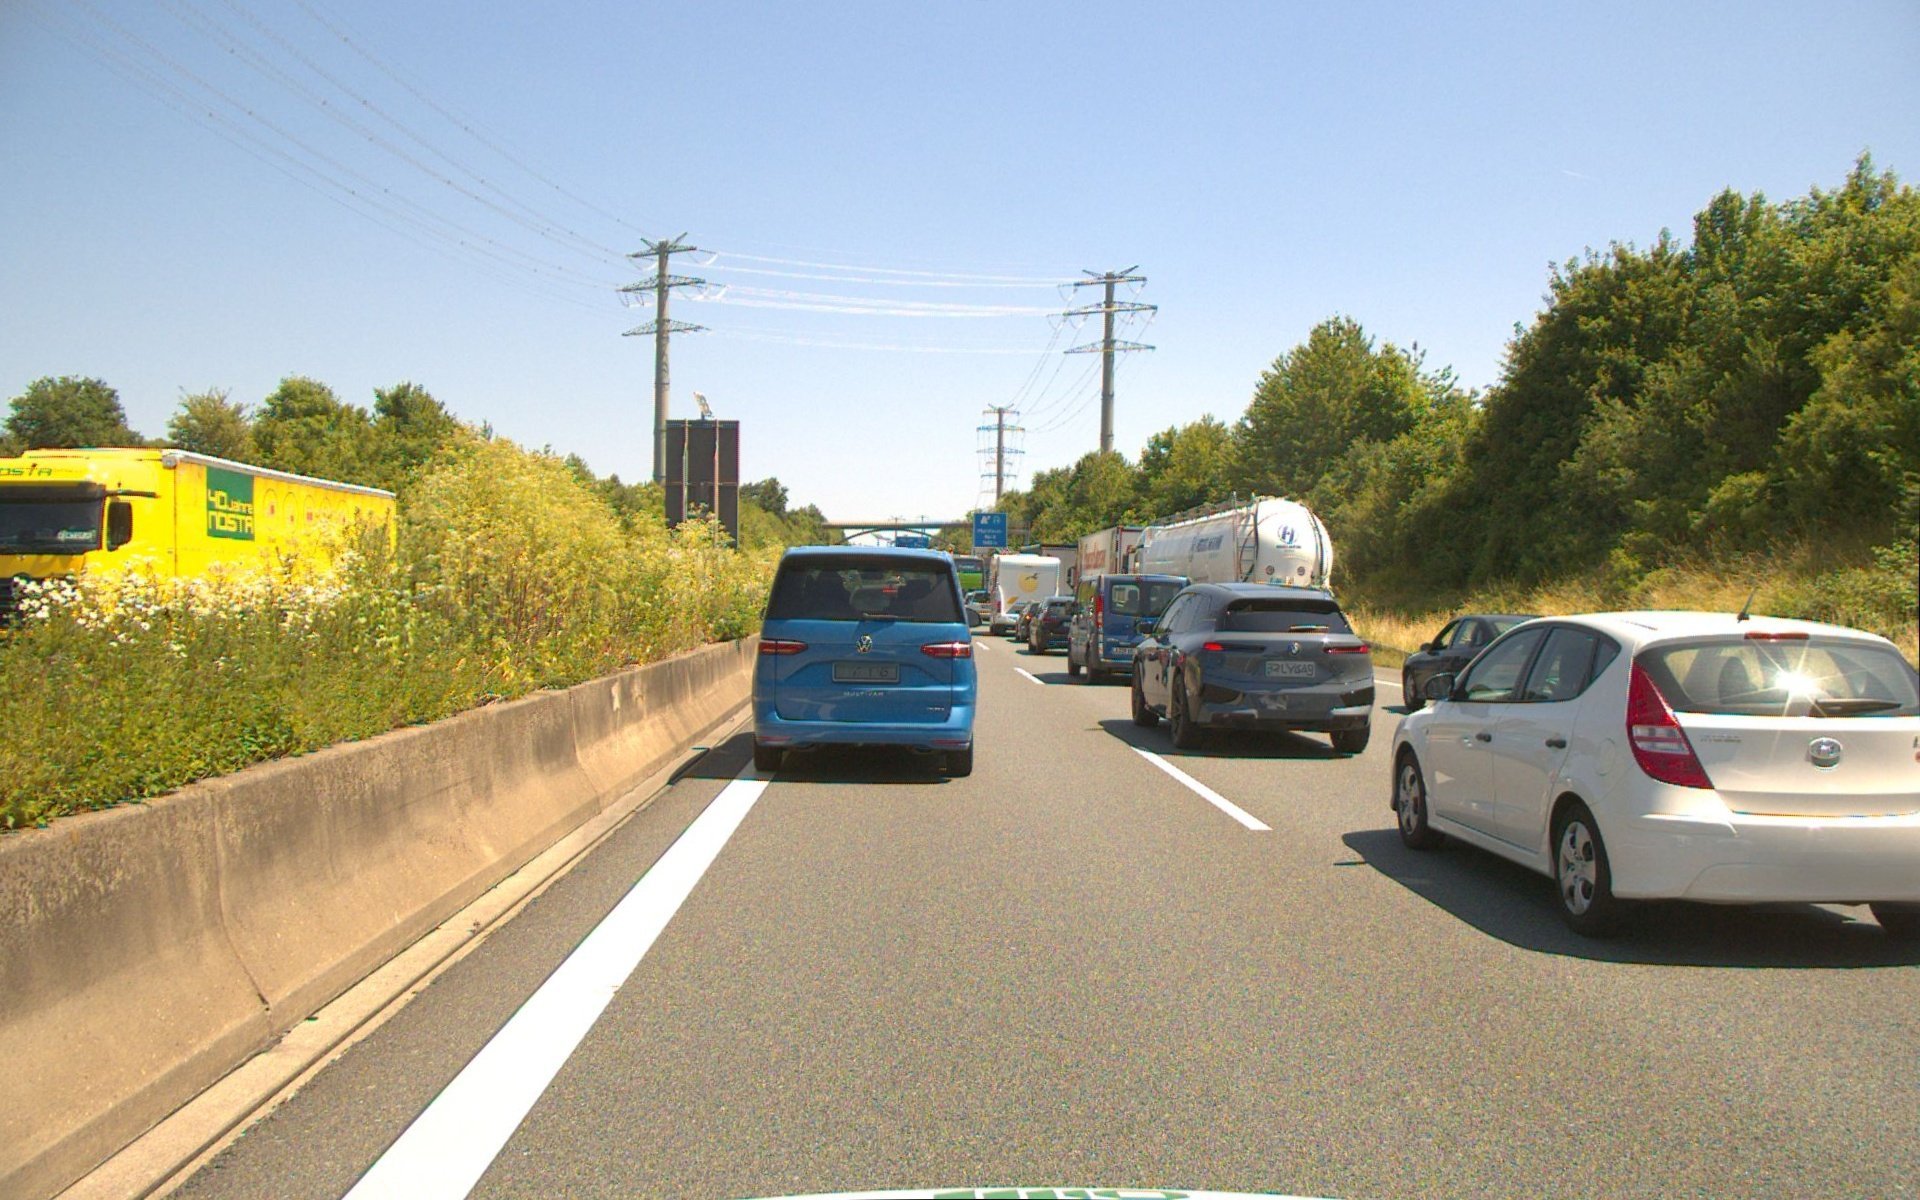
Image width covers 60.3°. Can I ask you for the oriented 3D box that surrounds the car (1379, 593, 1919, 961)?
[{"bbox_3d":[3.686,0.755,8.833,1.780,1.511,3.998,0,-1,-2],"label":"car"}]

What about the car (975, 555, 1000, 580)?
[{"bbox_3d":[2.440,-2.829,145.431,1.953,2.049,3.998,1,0,-2],"label":"car"}]

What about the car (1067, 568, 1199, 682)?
[{"bbox_3d":[3.152,0.457,30.904,1.884,1.959,4.234,0,-1,-2],"label":"car"}]

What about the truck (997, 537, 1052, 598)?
[{"bbox_3d":[4.277,-2.079,112.983,2.837,3.832,13.340,1,0,-2],"label":"truck"}]

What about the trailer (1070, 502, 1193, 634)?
[{"bbox_3d":[6.363,-1.109,63.389,2.854,4.547,12.147,1,0,-3],"label":"trailer"}]

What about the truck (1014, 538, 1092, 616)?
[{"bbox_3d":[4.911,-1.132,90.419,2.945,3.832,15.707,1,0,-1],"label":"truck"}]

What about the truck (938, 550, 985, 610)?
[{"bbox_3d":[0.009,-1.275,111.527,2.837,3.832,10.137,1,0,-2],"label":"truck"}]

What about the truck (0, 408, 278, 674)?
[{"bbox_3d":[-15.588,-0.951,30.826,2.722,4.310,7.322,2,-1,-2],"label":"truck"}]

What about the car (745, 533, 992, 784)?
[{"bbox_3d":[-0.794,0.453,15.057,1.881,1.919,3.998,2,0,-2],"label":"car"}]

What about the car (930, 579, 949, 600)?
[{"bbox_3d":[-2.267,-1.121,180.581,1.954,2.163,3.998,1,0,-3],"label":"car"}]

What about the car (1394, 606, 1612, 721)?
[{"bbox_3d":[7.380,0.821,22.882,1.608,1.441,3.987,0,-1,-2],"label":"car"}]

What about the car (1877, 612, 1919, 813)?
[{"bbox_3d":[7.978,0.855,10.720,1.696,1.468,4.026,0,1,-3],"label":"car"}]

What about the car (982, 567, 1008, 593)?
[{"bbox_3d":[2.883,-1.650,136.631,1.953,2.049,3.998,1,0,-2],"label":"car"}]

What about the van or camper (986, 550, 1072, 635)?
[{"bbox_3d":[2.582,-0.266,64.305,2.897,3.075,7.101,1,0,-1],"label":"van or camper"}]

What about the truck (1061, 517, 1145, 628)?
[{"bbox_3d":[6.030,-1.124,70.559,2.854,4.547,5.139,1,0,-3],"label":"truck"}]

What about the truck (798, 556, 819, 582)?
[{"bbox_3d":[-23.162,-4.705,253.278,3.010,3.774,5.460,1,0,-3],"label":"truck"}]

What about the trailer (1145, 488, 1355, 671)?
[{"bbox_3d":[6.897,-0.448,41.405,2.706,3.912,11.479,1,0,-3],"label":"trailer"}]

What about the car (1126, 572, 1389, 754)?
[{"bbox_3d":[3.109,0.636,18.283,1.959,1.745,4.623,0,-1,-2],"label":"car"}]

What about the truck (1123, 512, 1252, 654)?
[{"bbox_3d":[6.557,-0.461,48.486,2.737,3.903,5.569,1,0,-3],"label":"truck"}]

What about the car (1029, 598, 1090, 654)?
[{"bbox_3d":[2.671,0.687,44.996,1.333,1.445,3.883,0,-1,-2],"label":"car"}]

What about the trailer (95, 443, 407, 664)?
[{"bbox_3d":[-15.831,-0.864,38.133,2.765,4.280,10.681,2,-1,-2],"label":"trailer"}]

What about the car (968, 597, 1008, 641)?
[{"bbox_3d":[1.339,0.918,79.700,1.799,2.033,3.999,0,-1,-1],"label":"car"}]
